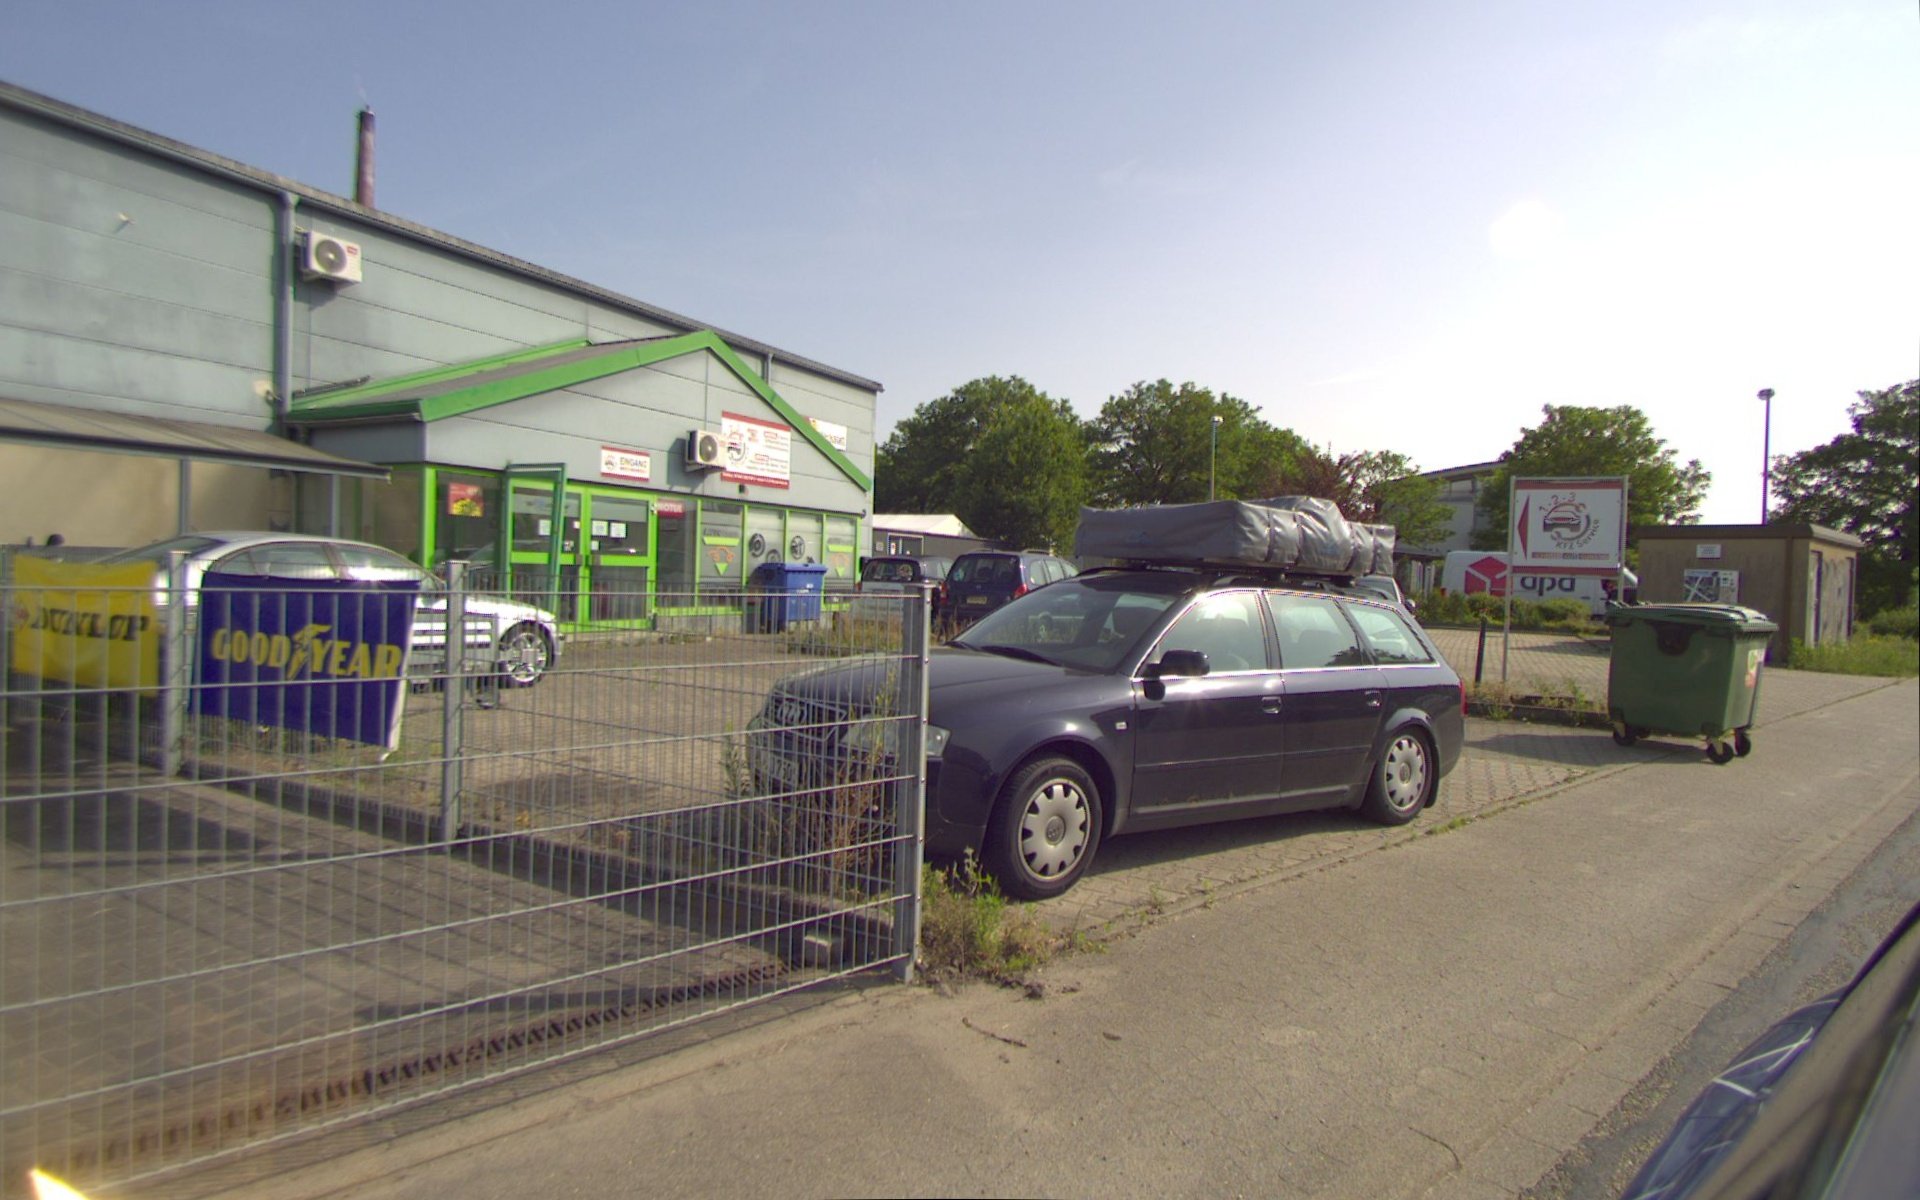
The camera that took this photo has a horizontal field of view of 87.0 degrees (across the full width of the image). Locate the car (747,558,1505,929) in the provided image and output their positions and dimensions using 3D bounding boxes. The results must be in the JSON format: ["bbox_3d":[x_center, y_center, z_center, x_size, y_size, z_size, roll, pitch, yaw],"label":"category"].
[{"bbox_3d":[1.155,0.532,5.767,4.310,1.385,1.679,1,2,-36],"label":"car"}]

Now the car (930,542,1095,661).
[{"bbox_3d":[0.963,-0.021,16.885,1.627,1.741,3.186,2,2,25],"label":"car"}]

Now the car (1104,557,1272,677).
[{"bbox_3d":[3.718,0.182,15.976,1.703,1.591,4.097,3,2,25],"label":"car"}]

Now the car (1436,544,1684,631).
[{"bbox_3d":[19.270,-0.427,32.801,6.699,2.571,2.253,1,1,34],"label":"car"}]

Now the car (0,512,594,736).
[{"bbox_3d":[-5.558,0.095,9.060,1.628,1.484,4.422,3,2,25],"label":"car"}]

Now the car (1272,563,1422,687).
[{"bbox_3d":[5.755,0.268,14.757,1.676,1.484,4.225,3,2,25],"label":"car"}]

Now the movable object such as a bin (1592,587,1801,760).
[{"bbox_3d":[6.766,0.615,9.300,1.478,1.369,1.084,1,4,-37],"label":"movable object such as a bin"}]

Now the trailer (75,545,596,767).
[{"bbox_3d":[-4.315,0.296,7.424,1.478,1.264,2.953,1,1,24],"label":"trailer"}]
